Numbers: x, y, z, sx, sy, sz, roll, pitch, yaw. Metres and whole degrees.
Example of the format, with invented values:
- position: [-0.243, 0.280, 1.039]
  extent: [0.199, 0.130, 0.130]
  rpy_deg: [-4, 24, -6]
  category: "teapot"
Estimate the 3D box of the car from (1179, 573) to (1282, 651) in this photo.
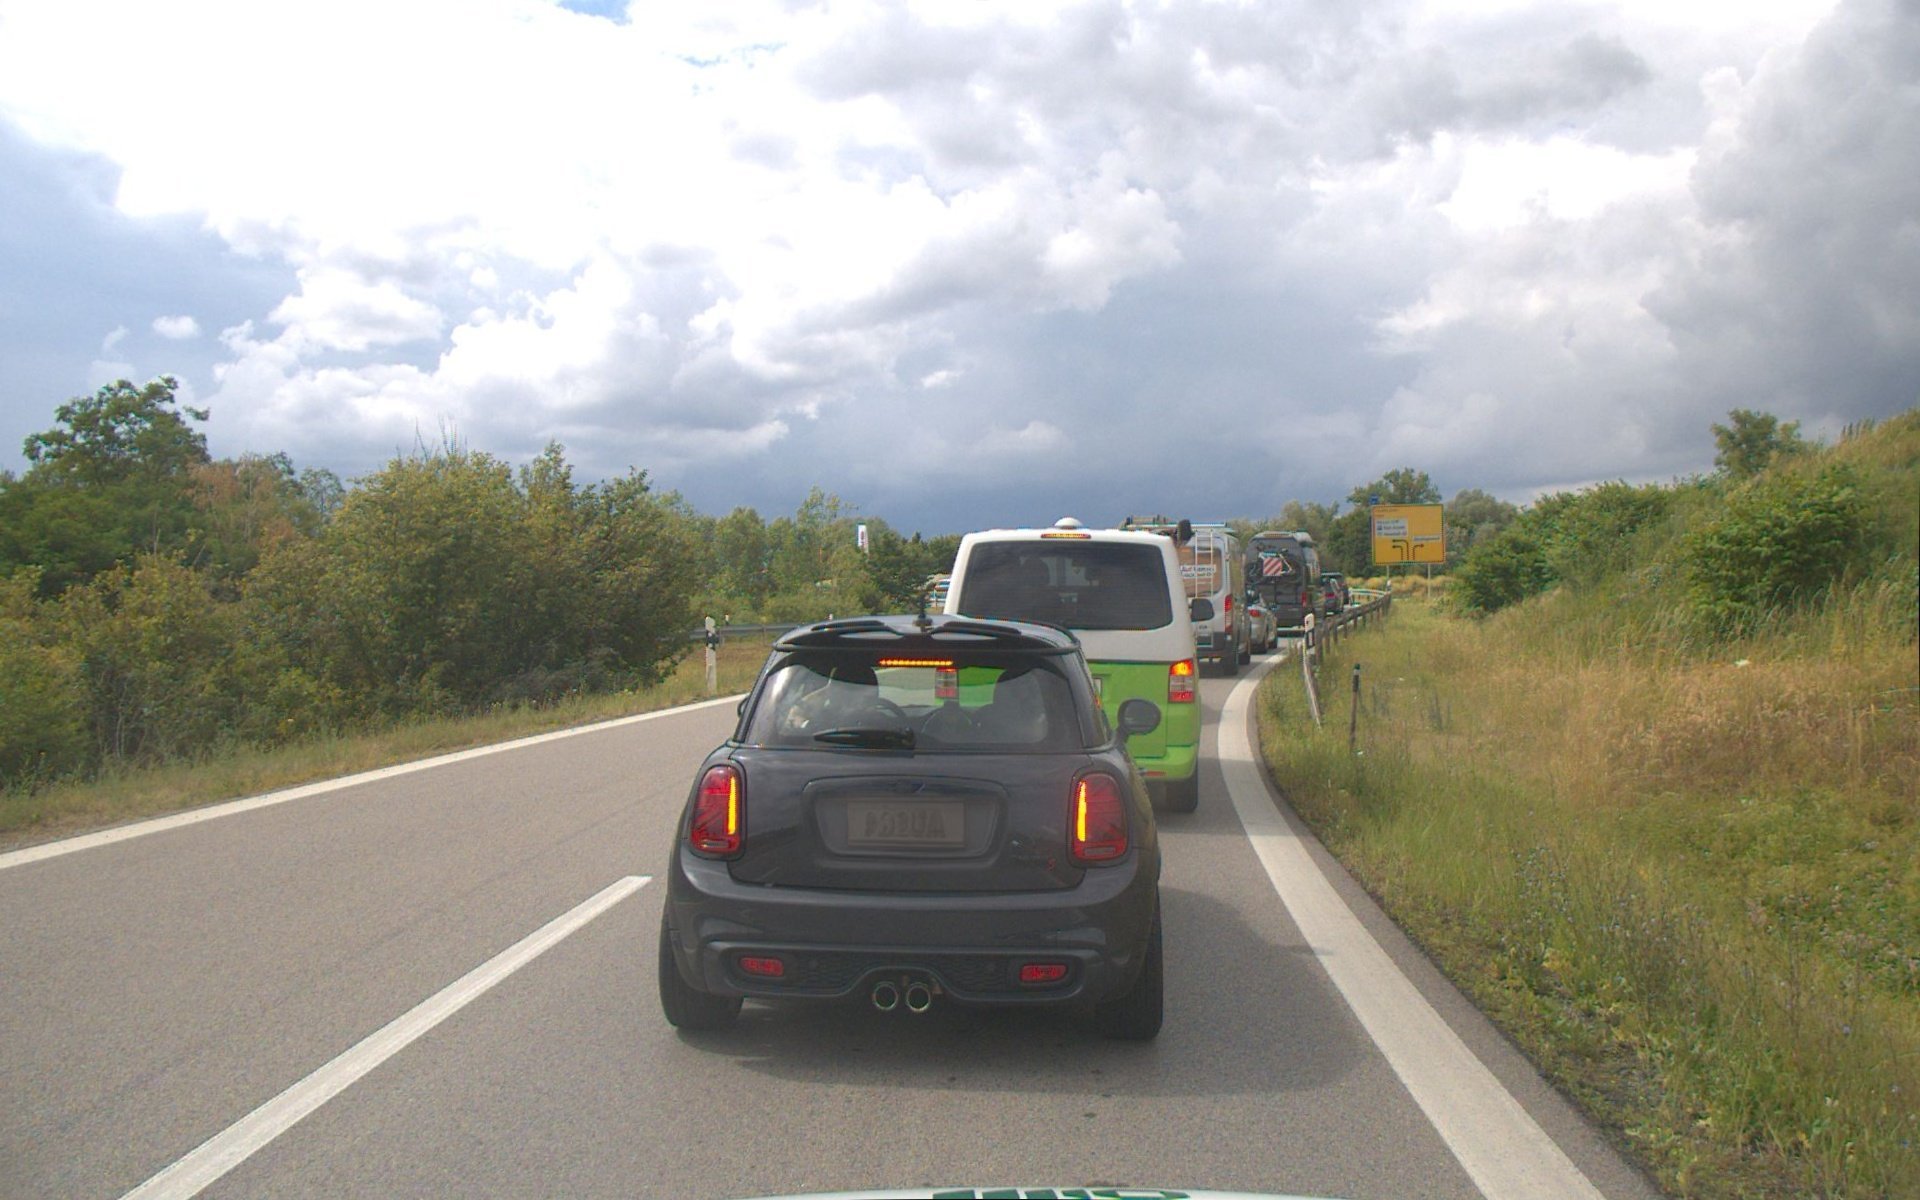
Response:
- position: [6.294, 0.278, 38.164]
  extent: [1.951, 1.671, 3.931]
  rpy_deg: [1, 0, 15]
  category: "car"

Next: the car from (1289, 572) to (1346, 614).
- position: [14.479, -0.269, 66.823]
  extent: [1.853, 1.616, 4.497]
  rpy_deg: [1, 0, 18]
  category: "car"

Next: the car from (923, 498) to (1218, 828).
- position: [0.976, 0.390, 12.632]
  extent: [1.870, 2.081, 4.184]
  rpy_deg: [0, 0, 8]
  category: "car"

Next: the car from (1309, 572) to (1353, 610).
- position: [19.859, -0.462, 88.685]
  extent: [2.050, 1.916, 4.499]
  rpy_deg: [1, 0, 10]
  category: "car"

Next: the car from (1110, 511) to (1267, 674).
- position: [4.285, -0.116, 30.192]
  extent: [2.165, 2.668, 5.538]
  rpy_deg: [1, 0, 15]
  category: "car"

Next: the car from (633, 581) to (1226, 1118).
- position: [0.008, 0.725, 6.796]
  extent: [1.762, 1.573, 3.740]
  rpy_deg: [0, 0, 3]
  category: "car"

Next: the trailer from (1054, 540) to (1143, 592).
- position: [11.133, -2.660, 133.783]
  extent: [3.001, 3.966, 8.692]
  rpy_deg: [1, 0, -28]
  category: "trailer"

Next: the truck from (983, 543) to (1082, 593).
- position: [6.131, -2.704, 141.405]
  extent: [2.815, 4.045, 9.899]
  rpy_deg: [1, 0, -37]
  category: "truck"

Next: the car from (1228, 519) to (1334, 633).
- position: [9.529, -0.646, 48.667]
  extent: [2.262, 3.122, 6.665]
  rpy_deg: [1, 0, 18]
  category: "car"
